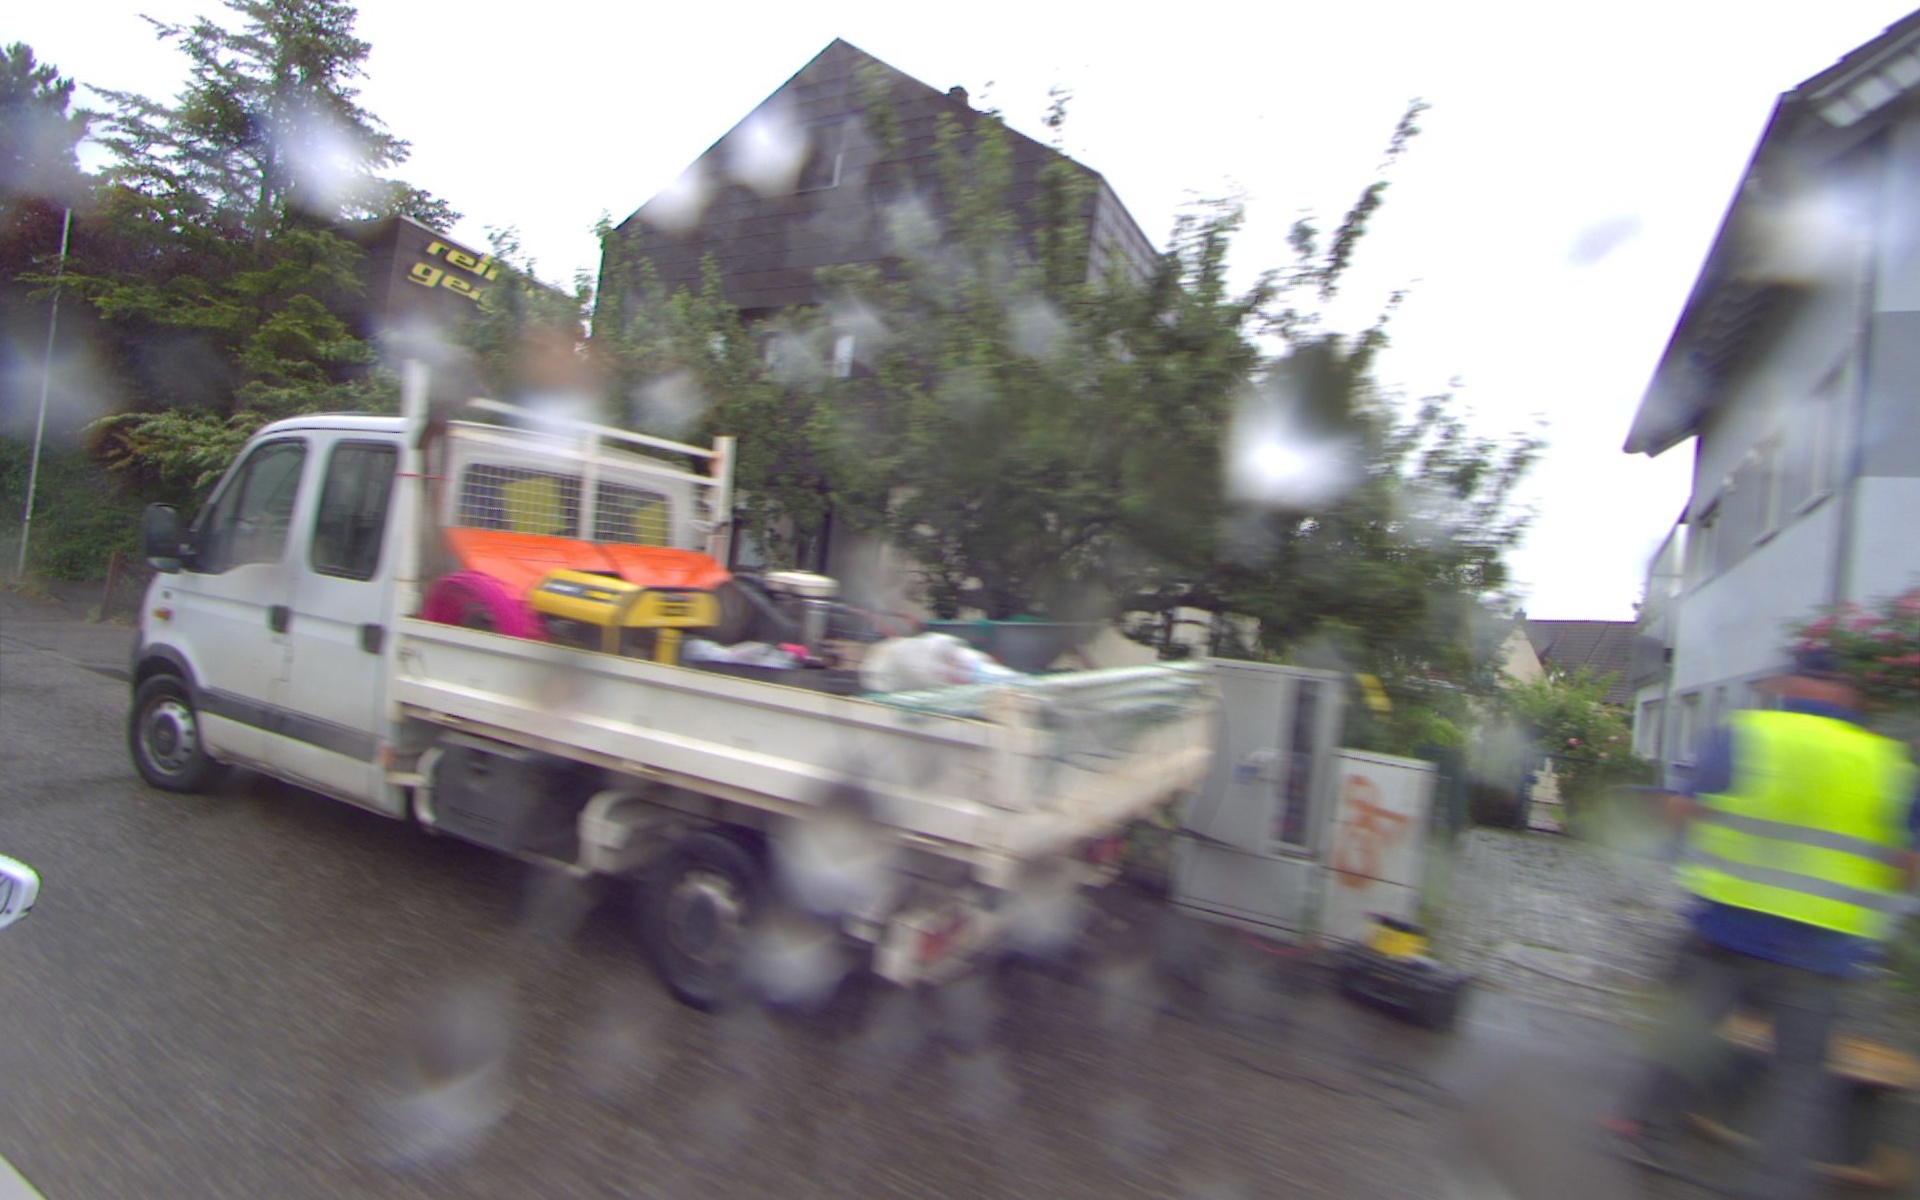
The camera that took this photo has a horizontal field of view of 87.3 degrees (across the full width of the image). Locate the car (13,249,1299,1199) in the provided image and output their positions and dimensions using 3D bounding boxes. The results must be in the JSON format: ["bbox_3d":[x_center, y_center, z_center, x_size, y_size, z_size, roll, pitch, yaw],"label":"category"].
[{"bbox_3d":[-1.883,0.120,5.163,6.323,2.460,2.397,7,-1,30],"label":"car"}]

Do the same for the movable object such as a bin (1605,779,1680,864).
[{"bbox_3d":[10.246,3.306,15.123,0.779,1.042,0.880,7,-2,31],"label":"movable object such as a bin"}]

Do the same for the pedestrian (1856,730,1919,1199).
[{"bbox_3d":[3.244,1.143,2.715,0.926,1.684,0.577,7,1,19],"label":"pedestrian"}]

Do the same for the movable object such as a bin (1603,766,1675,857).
[{"bbox_3d":[10.704,3.319,15.884,0.779,1.214,0.880,7,-1,31],"label":"movable object such as a bin"}]

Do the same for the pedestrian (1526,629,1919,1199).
[{"bbox_3d":[2.464,1.013,3.171,0.875,1.728,0.711,7,1,19],"label":"pedestrian"}]

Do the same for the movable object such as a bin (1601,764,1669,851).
[{"bbox_3d":[11.162,3.412,16.663,0.779,1.214,0.880,7,-1,31],"label":"movable object such as a bin"}]
